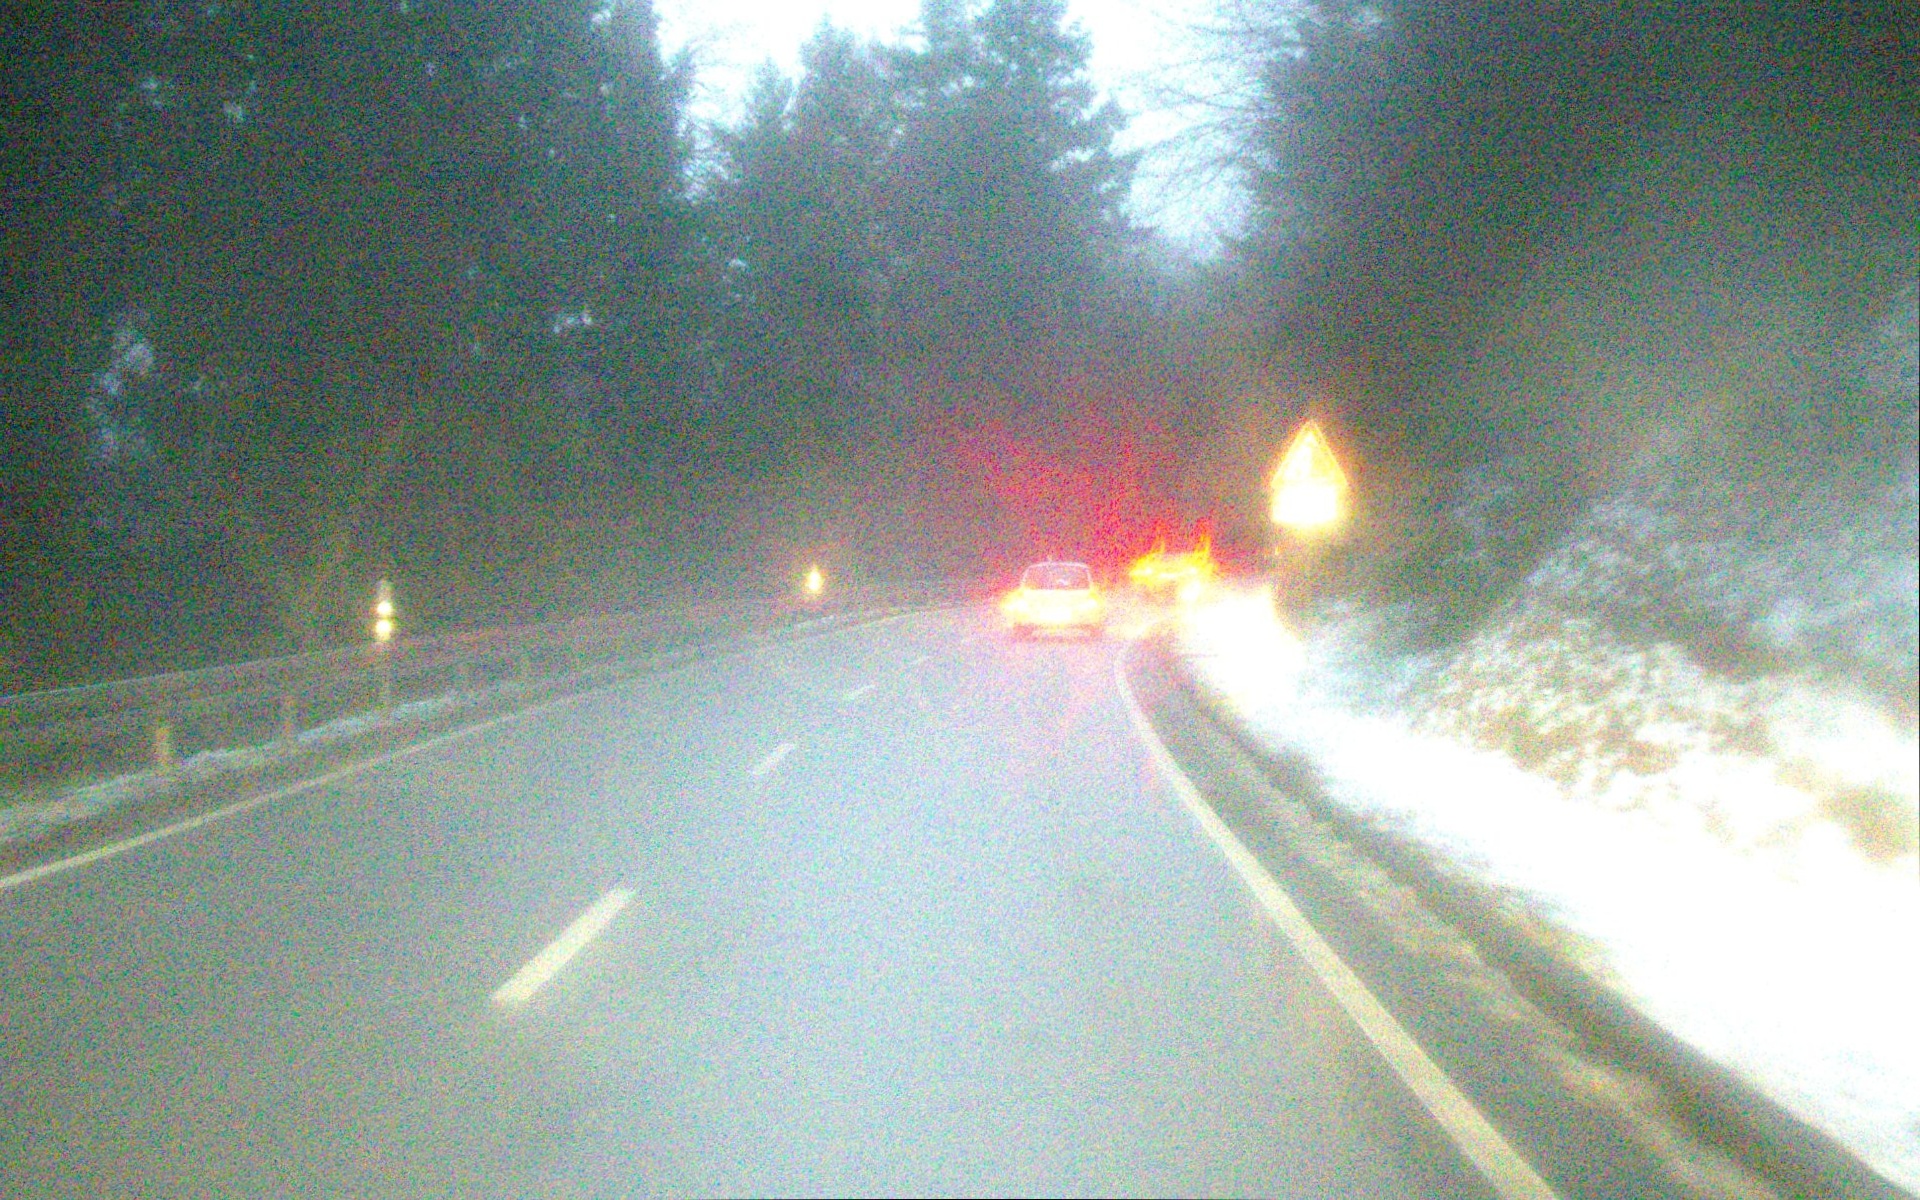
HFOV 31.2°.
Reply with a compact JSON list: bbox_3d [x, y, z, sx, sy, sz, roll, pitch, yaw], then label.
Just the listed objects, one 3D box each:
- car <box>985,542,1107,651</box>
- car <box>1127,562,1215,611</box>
[{"bbox_3d":[1.548,-0.092,63.510,1.993,1.866,4.000,-3,1,-1],"label":"car"},{"bbox_3d":[6.169,-0.404,100.813,1.993,1.305,4.001,-3,1,-4],"label":"car"}]
